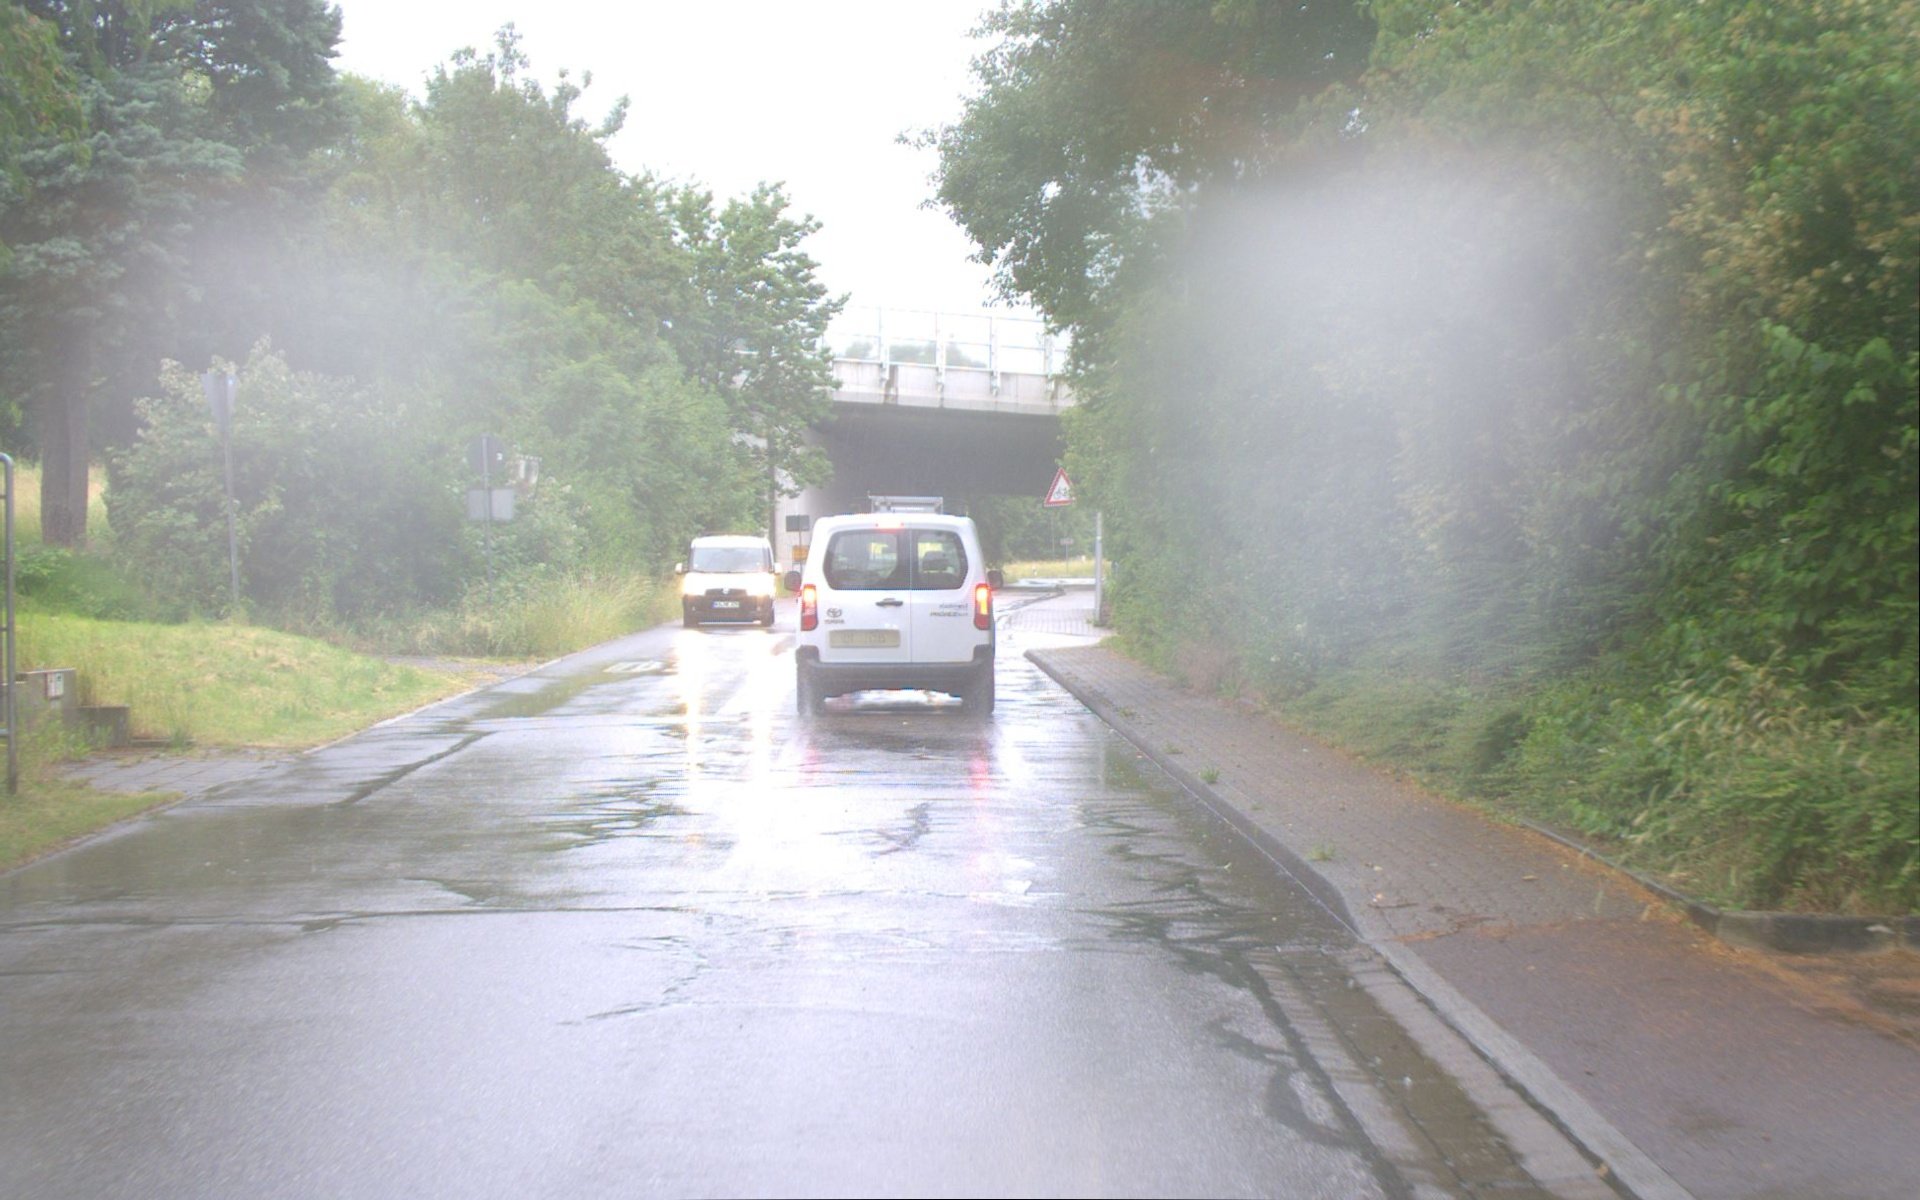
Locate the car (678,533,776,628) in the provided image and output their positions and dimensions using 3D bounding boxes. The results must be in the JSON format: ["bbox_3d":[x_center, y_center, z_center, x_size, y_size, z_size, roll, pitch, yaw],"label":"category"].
[{"bbox_3d":[-4.630,-0.408,68.707,1.823,1.825,4.308,0,1,-2],"label":"car"}]

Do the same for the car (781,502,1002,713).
[{"bbox_3d":[-0.602,0.011,31.974,1.896,1.800,4.000,-1,2,0],"label":"car"}]

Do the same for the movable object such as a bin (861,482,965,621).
[{"bbox_3d":[-0.870,-0.926,65.503,1.761,2.539,4.239,1,1,2],"label":"movable object such as a bin"}]
